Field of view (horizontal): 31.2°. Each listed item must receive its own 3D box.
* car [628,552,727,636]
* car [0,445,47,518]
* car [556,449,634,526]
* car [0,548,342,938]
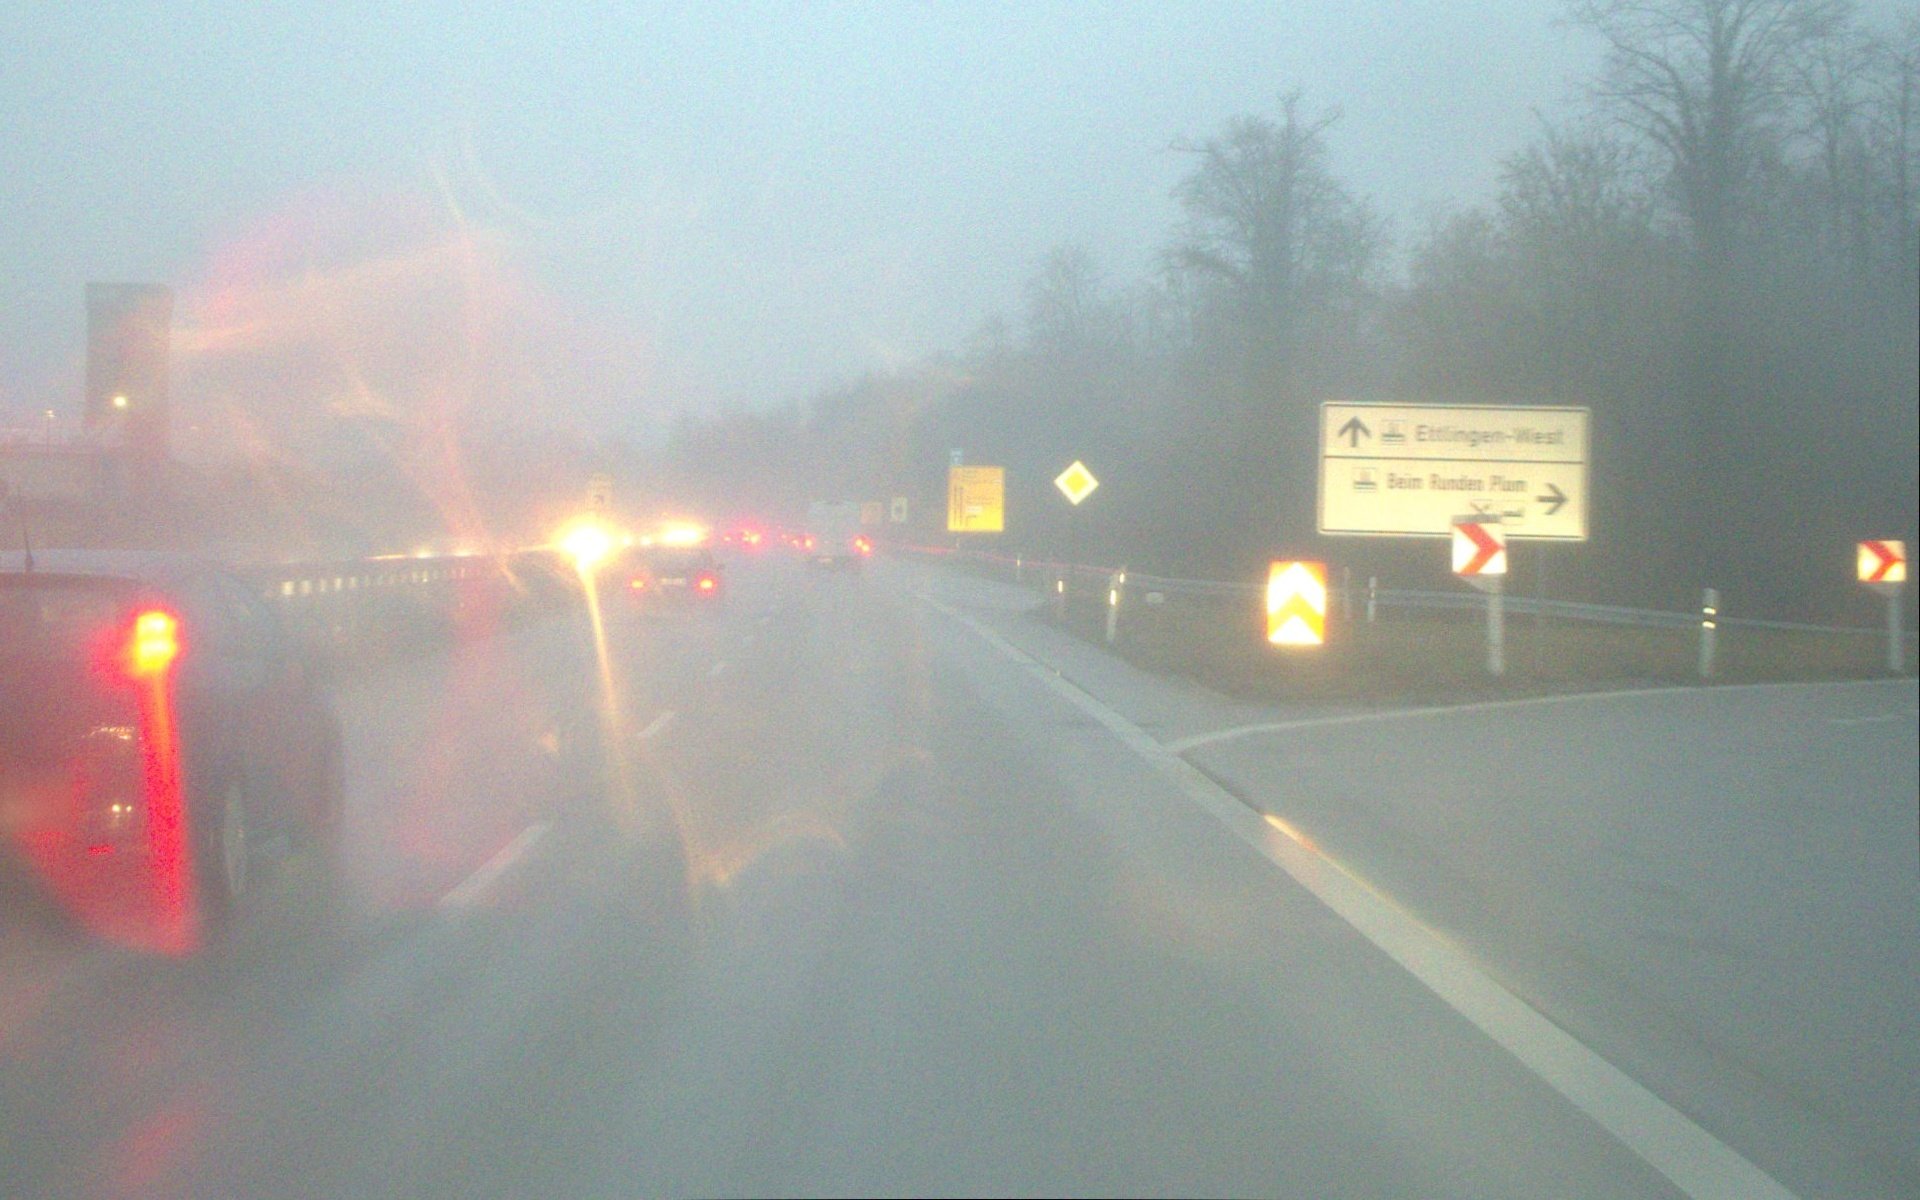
[{"bbox_3d":[-5.314,-0.138,65.039,1.775,1.529,4.703,0,1,-3],"label":"car"},{"bbox_3d":[-24.924,-3.103,89.281,1.890,1.815,3.875,3,1,-9],"label":"car"},{"bbox_3d":[-10.462,-3.203,98.267,2.122,2.113,3.576,1,1,-7],"label":"car"},{"bbox_3d":[-3.761,0.539,15.217,1.527,1.411,3.479,3,2,-3],"label":"car"}]
